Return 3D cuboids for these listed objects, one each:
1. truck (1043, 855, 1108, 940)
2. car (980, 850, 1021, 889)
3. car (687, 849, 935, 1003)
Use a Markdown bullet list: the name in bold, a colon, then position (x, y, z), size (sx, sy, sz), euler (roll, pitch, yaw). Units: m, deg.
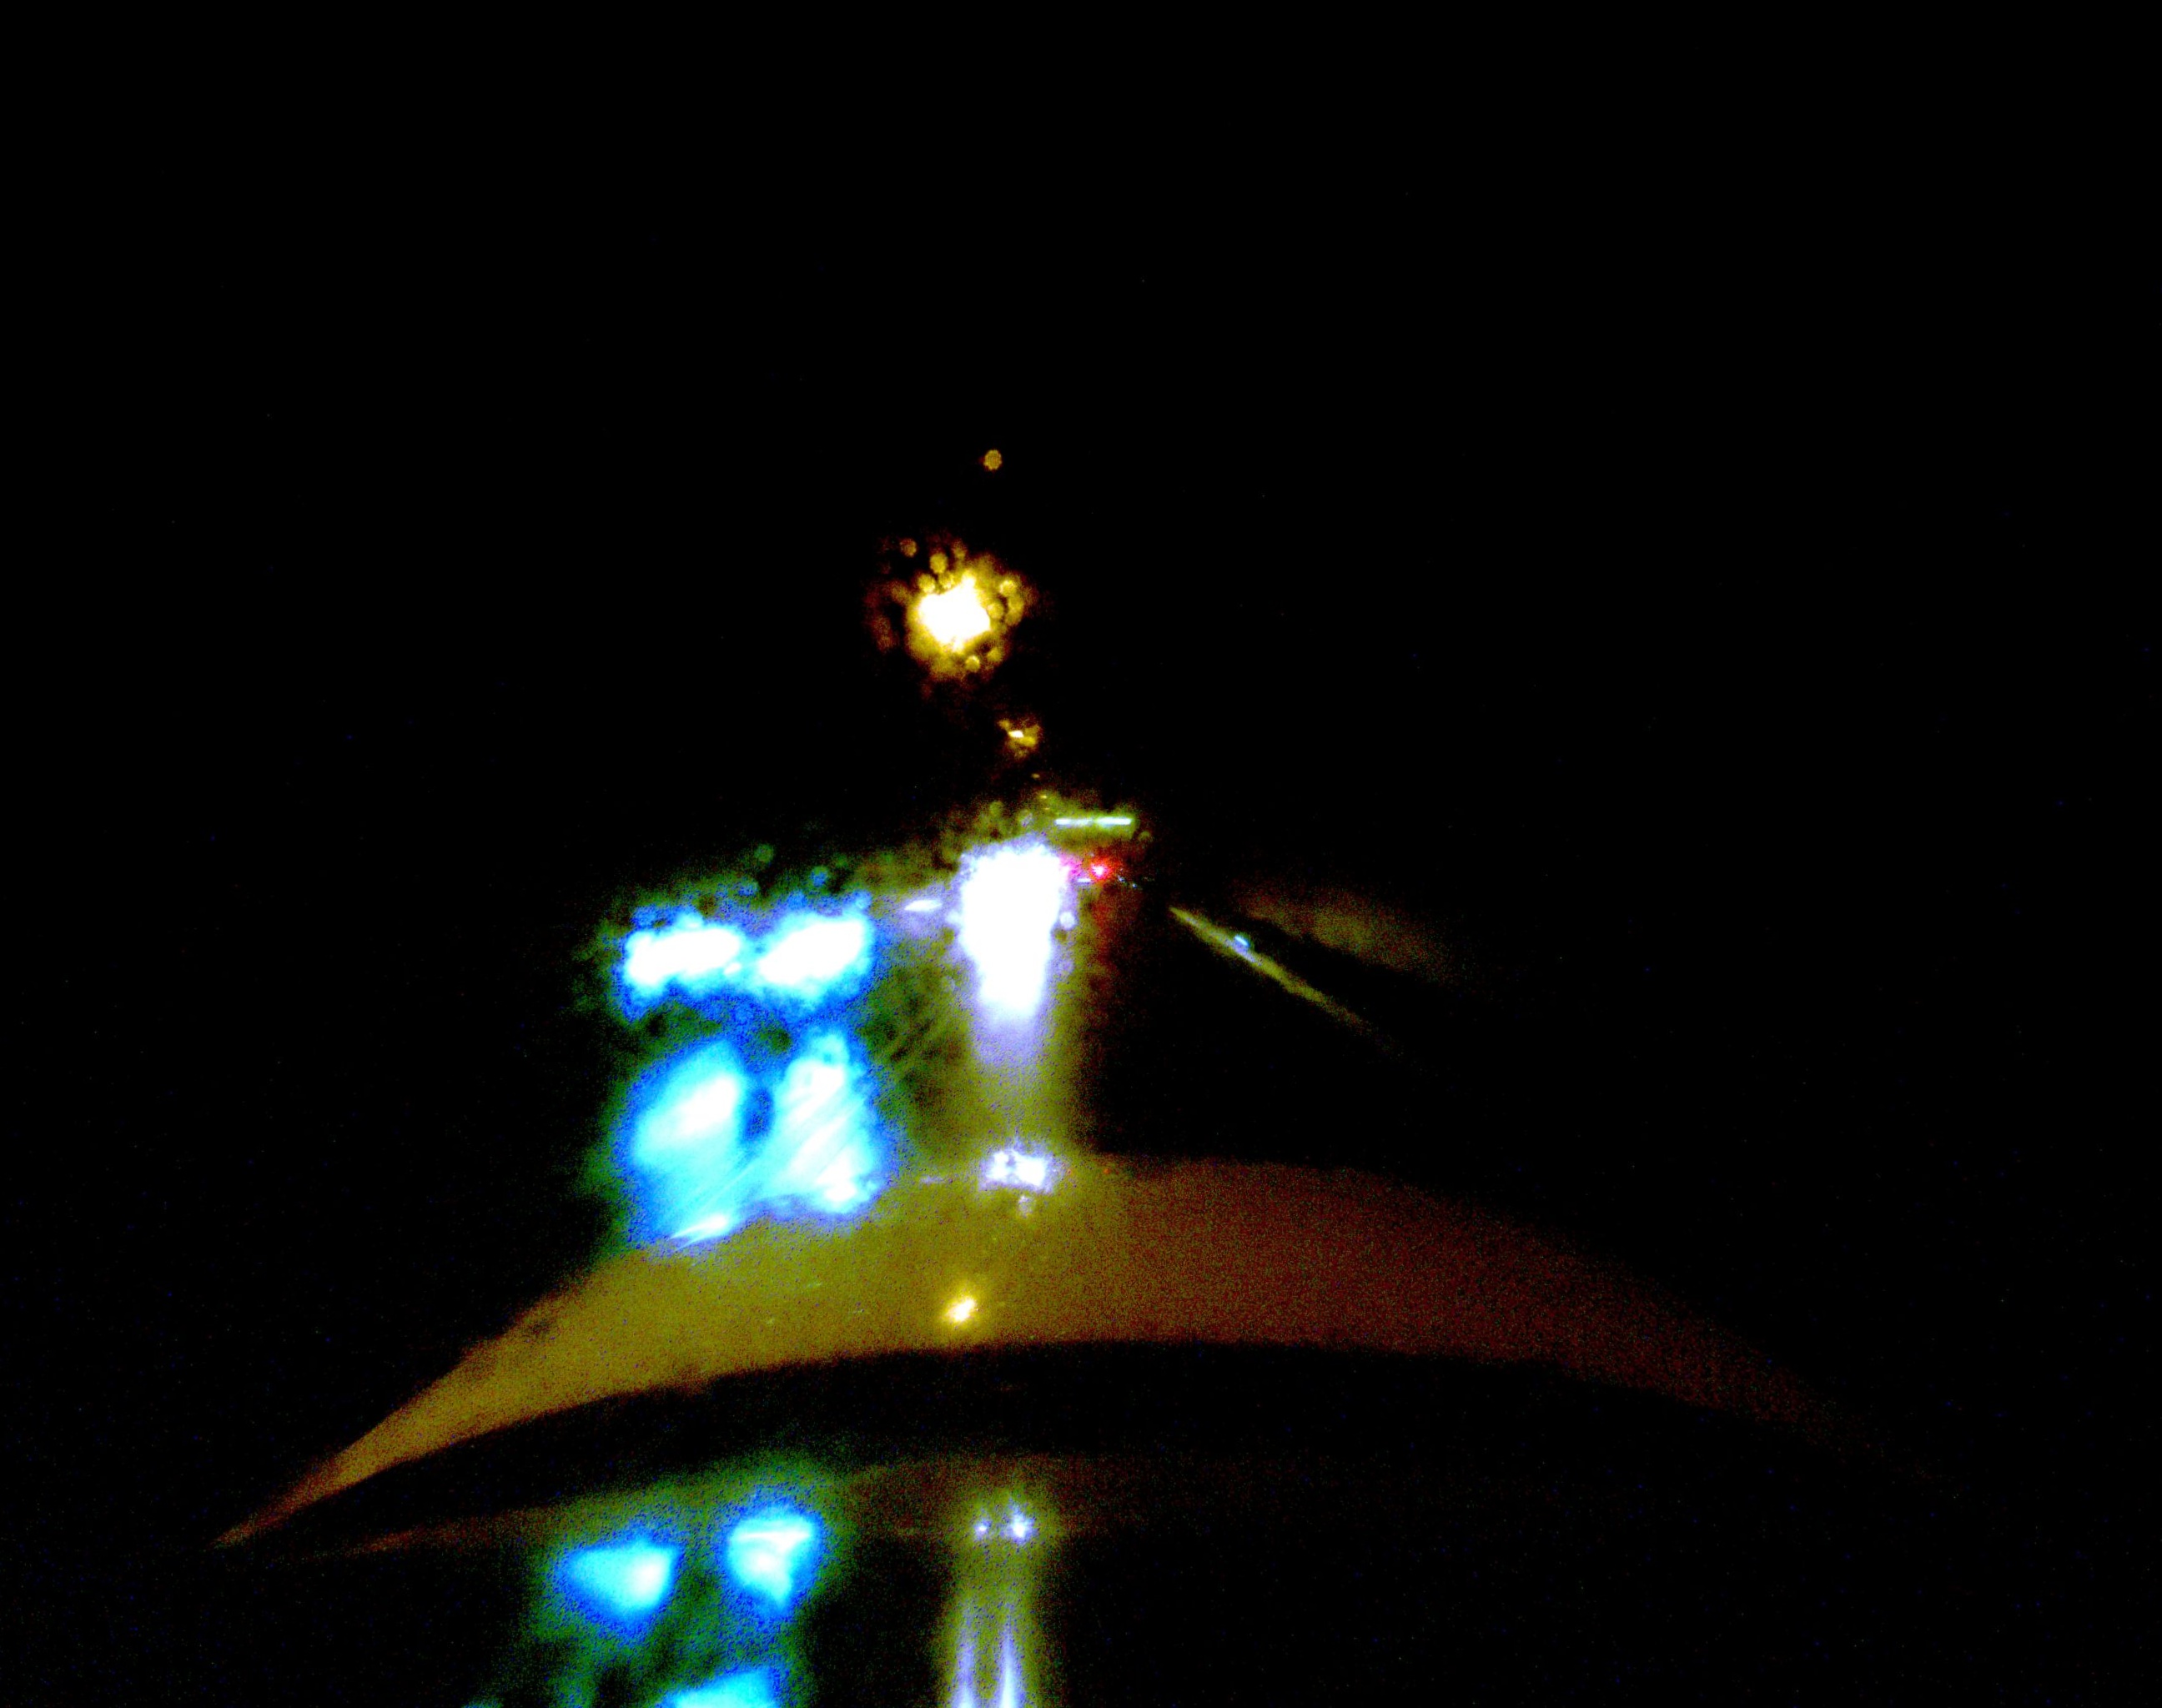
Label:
- **truck**: position (-0.239, 1.592, 33.402), size (2.255, 3.011, 7.412), euler (2, 0, -1)
- **car**: position (-3.402, 0.624, 34.883), size (1.579, 1.537, 3.171), euler (2, 0, -4)
- **car**: position (-3.033, 0.713, 10.106), size (1.615, 1.517, 4.138), euler (0, 0, 1)
